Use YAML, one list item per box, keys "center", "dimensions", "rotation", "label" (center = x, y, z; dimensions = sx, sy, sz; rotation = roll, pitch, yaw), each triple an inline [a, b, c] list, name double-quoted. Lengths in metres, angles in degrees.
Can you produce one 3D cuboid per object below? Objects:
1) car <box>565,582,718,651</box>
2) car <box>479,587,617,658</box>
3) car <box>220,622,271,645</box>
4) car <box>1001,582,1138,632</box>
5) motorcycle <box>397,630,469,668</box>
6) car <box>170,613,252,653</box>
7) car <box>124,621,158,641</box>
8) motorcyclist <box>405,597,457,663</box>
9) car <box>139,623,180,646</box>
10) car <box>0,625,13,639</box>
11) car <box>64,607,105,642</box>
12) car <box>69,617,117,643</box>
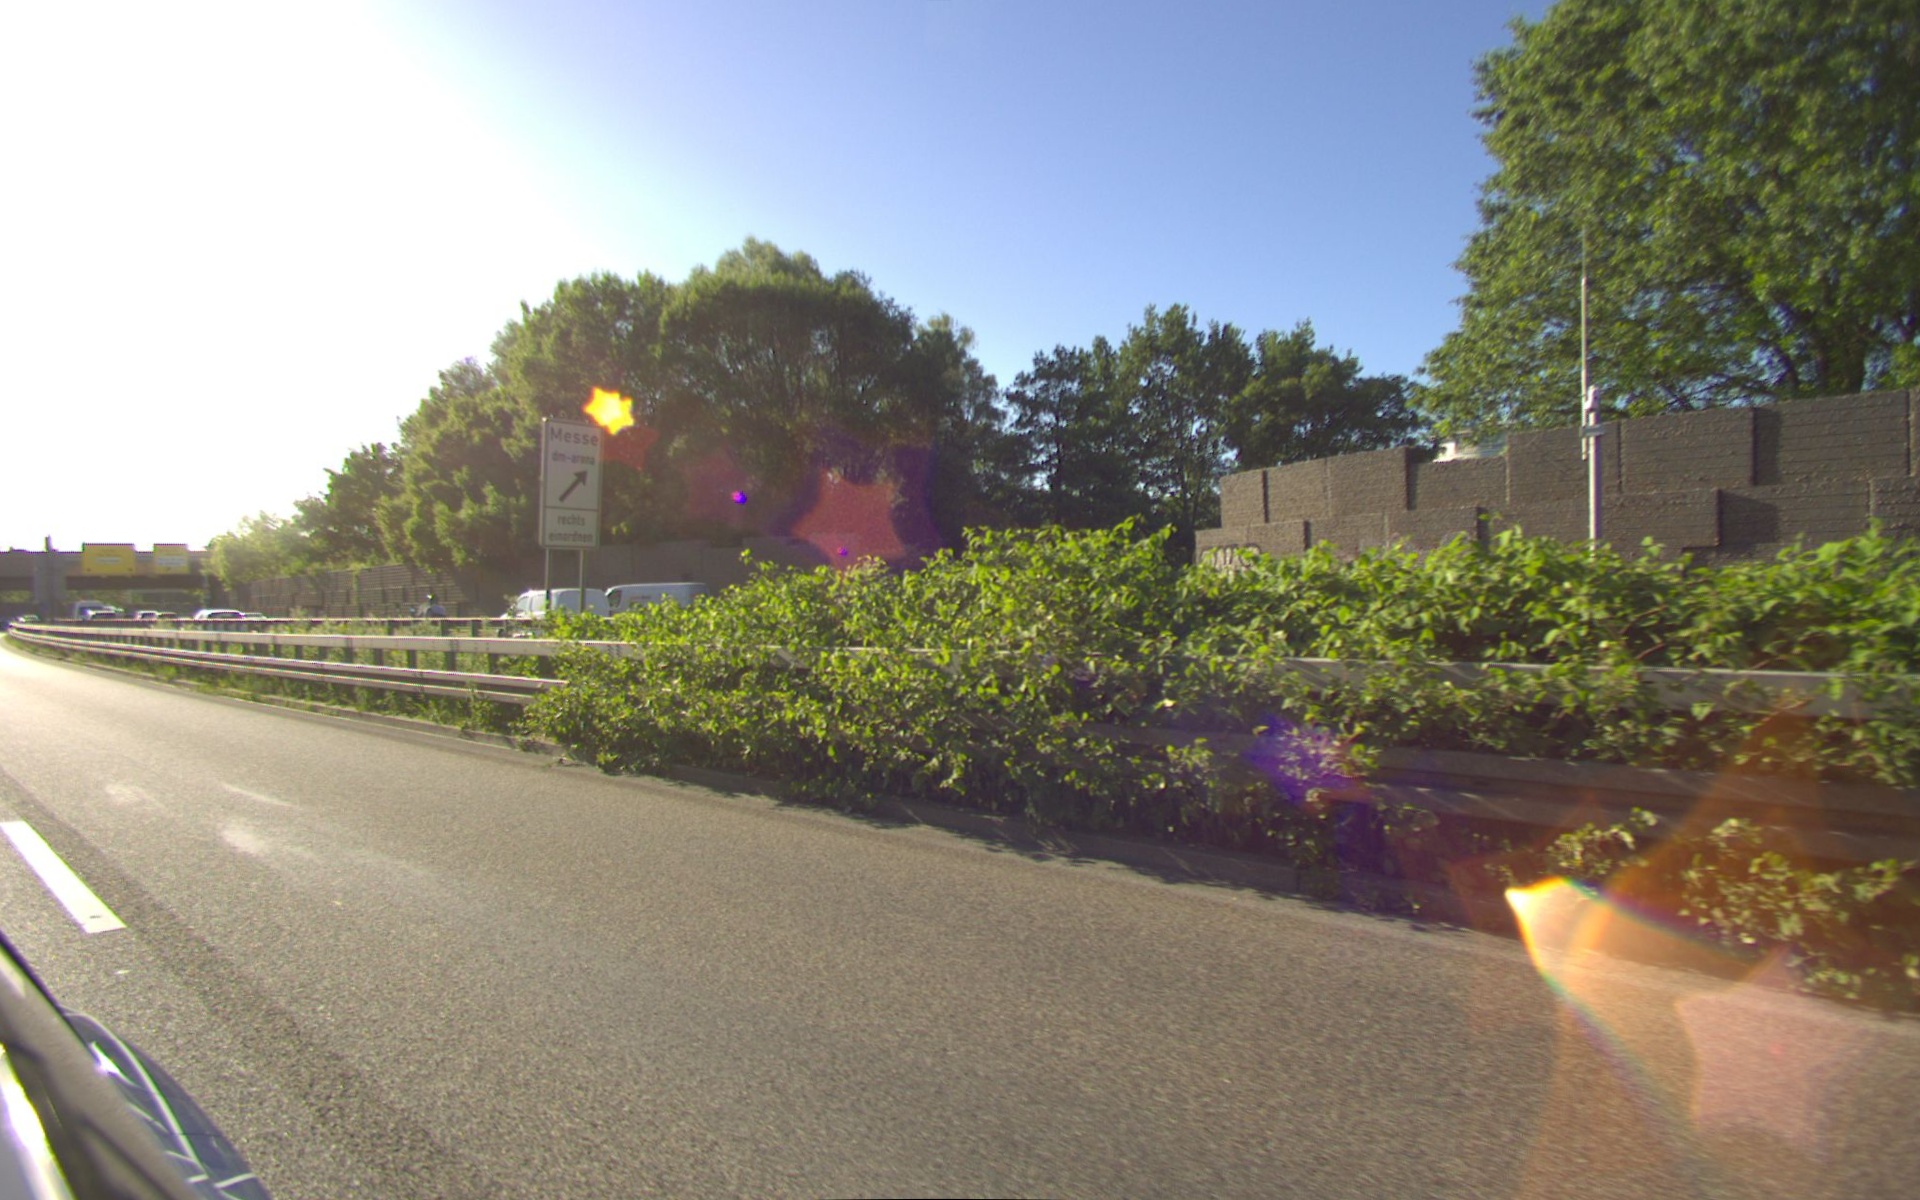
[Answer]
- center: [-12.292, 0.639, 39.128]
  dimensions: [5.329, 2.297, 2.072]
  rotation: [-3, 1, 18]
  label: "car"
- center: [-12.058, 0.675, 29.487]
  dimensions: [4.620, 1.835, 1.803]
  rotation: [-2, 1, 42]
  label: "car"
- center: [-48.854, 2.299, 69.211]
  dimensions: [4.028, 1.398, 1.972]
  rotation: [-2, 1, 42]
  label: "car"
- center: [3.612, 0.204, 33.798]
  dimensions: [4.029, 1.343, 2.008]
  rotation: [-4, 1, -13]
  label: "car"
- center: [-13.808, 1.277, 26.487]
  dimensions: [2.473, 0.899, 0.803]
  rotation: [-2, 1, 42]
  label: "motorcycle"
- center: [-31.937, 1.426, 43.106]
  dimensions: [4.619, 1.491, 1.803]
  rotation: [-2, 1, 41]
  label: "car"
- center: [-76.247, 2.901, 94.213]
  dimensions: [4.623, 1.608, 1.971]
  rotation: [-2, 1, 45]
  label: "car"
- center: [-13.830, 0.776, 26.449]
  dimensions: [1.046, 1.637, 0.813]
  rotation: [-2, 1, 41]
  label: "motorcyclist"
- center: [-63.642, 2.759, 80.417]
  dimensions: [4.697, 1.632, 1.881]
  rotation: [-2, 1, 44]
  label: "car"
- center: [-107.133, 3.576, 112.841]
  dimensions: [1.969, 1.425, 4.837]
  rotation: [-3, 0, -41]
  label: "car"
- center: [-75.043, 2.130, 86.712]
  dimensions: [2.097, 2.703, 6.591]
  rotation: [-4, 1, -45]
  label: "car"
- center: [-58.697, 2.039, 68.464]
  dimensions: [4.247, 1.591, 1.972]
  rotation: [-3, -2, 42]
  label: "car"
